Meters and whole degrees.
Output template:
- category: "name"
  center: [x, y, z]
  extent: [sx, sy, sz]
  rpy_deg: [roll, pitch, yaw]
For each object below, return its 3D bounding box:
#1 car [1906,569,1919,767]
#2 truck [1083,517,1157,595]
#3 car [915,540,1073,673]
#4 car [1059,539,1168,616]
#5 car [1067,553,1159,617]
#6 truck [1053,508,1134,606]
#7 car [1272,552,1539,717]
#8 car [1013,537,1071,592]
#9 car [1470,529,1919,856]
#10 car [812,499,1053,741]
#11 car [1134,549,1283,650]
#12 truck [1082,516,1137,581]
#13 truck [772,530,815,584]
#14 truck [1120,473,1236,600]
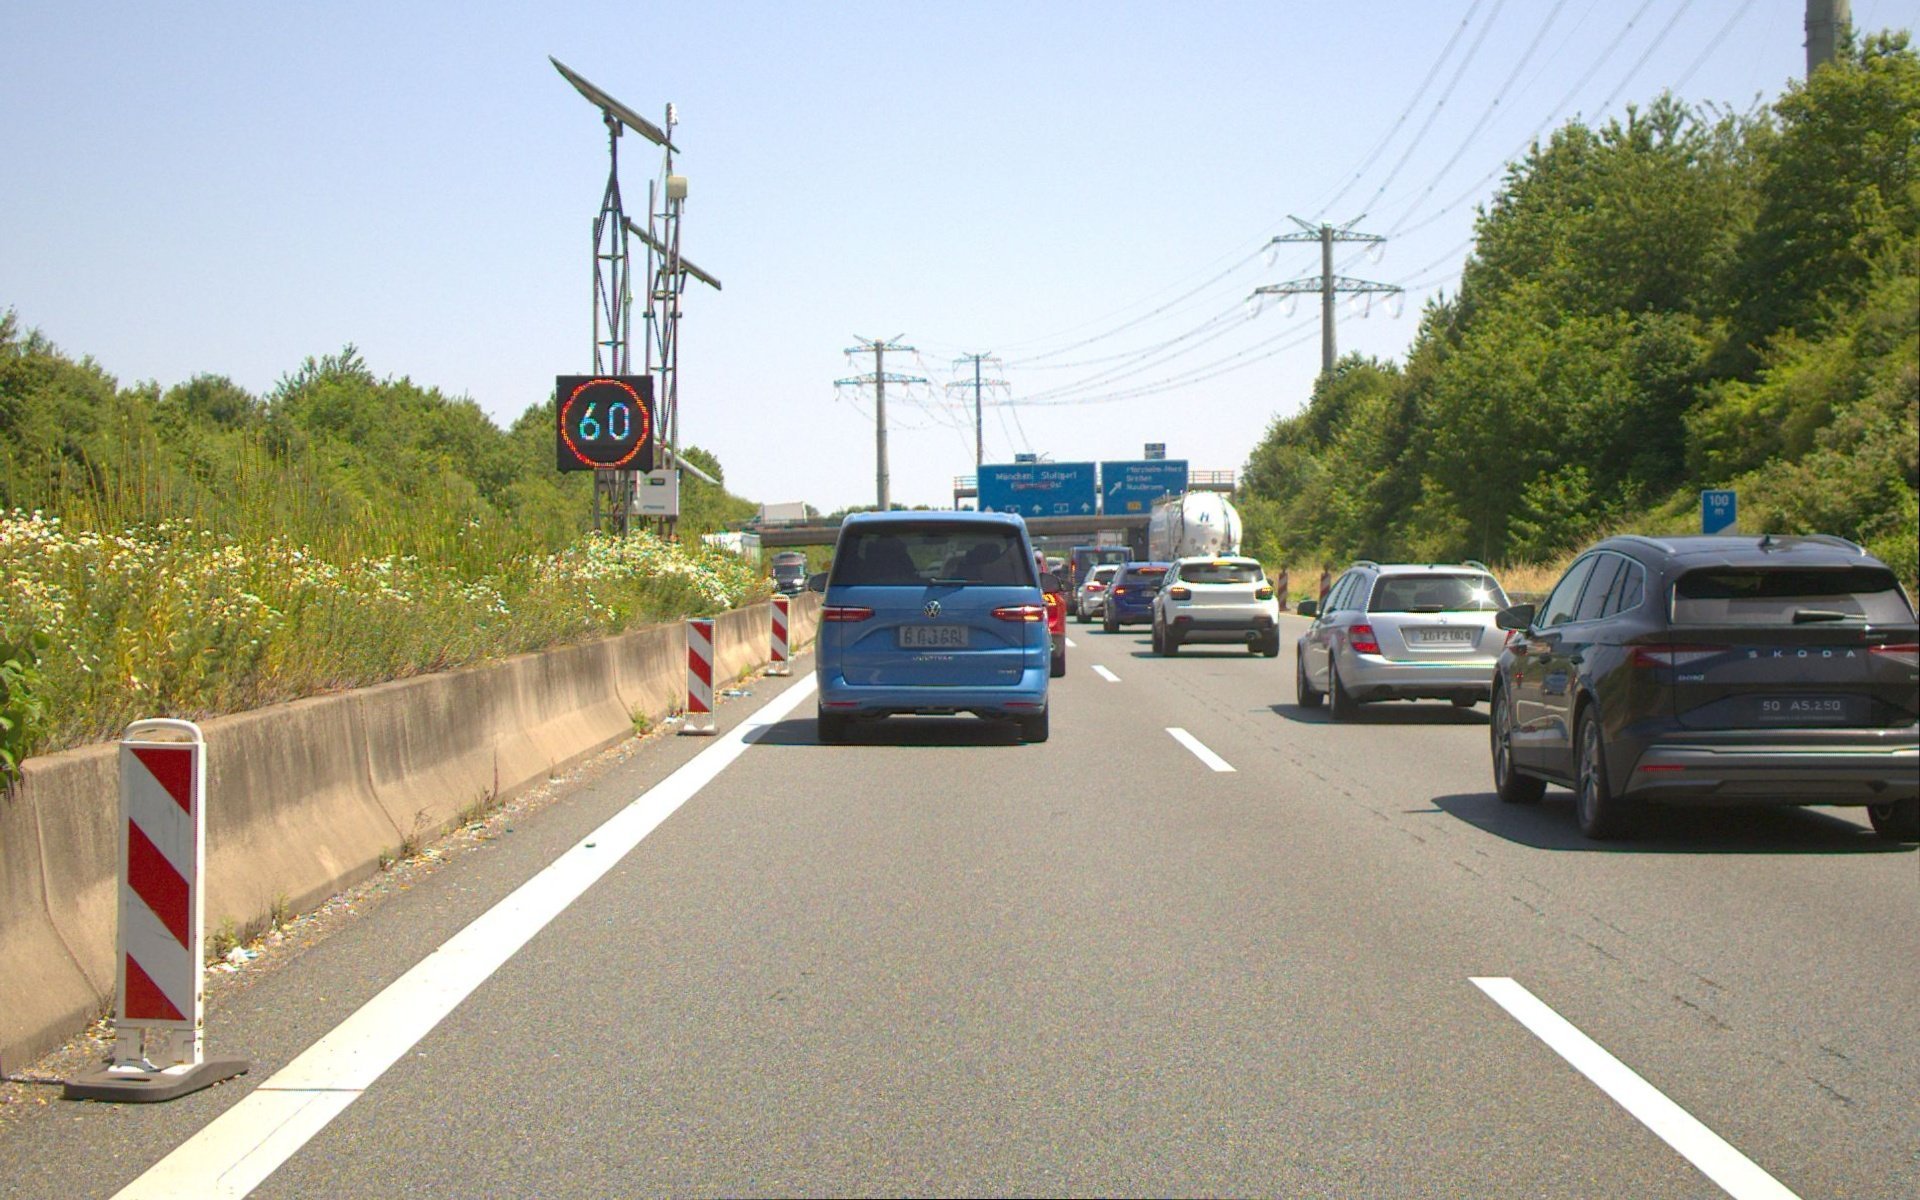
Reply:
- category: "car"
  center: [7.571, 0.508, 21.965]
  extent: [1.734, 1.373, 4.303]
  rpy_deg: [1, 1, -2]
- category: "truck"
  center: [7.467, -2.074, 161.553]
  extent: [2.644, 3.526, 12.552]
  rpy_deg: [1, 1, -1]
- category: "car"
  center: [0.386, 0.047, 44.244]
  extent: [1.908, 1.625, 4.384]
  rpy_deg: [0, 1, -1]
- category: "car"
  center: [3.151, -0.483, 71.446]
  extent: [1.908, 1.511, 4.384]
  rpy_deg: [1, 1, -2]
- category: "car"
  center: [3.728, -0.393, 84.576]
  extent: [1.908, 1.511, 4.384]
  rpy_deg: [1, 1, -2]
- category: "truck"
  center: [3.823, -1.248, 99.339]
  extent: [1.993, 2.714, 5.680]
  rpy_deg: [1, 1, -1]
- category: "car"
  center: [4.145, 0.277, 32.645]
  extent: [1.821, 1.432, 4.384]
  rpy_deg: [1, 1, -2]
- category: "car"
  center: [3.027, -1.320, 127.602]
  extent: [1.993, 2.007, 4.000]
  rpy_deg: [1, 1, -1]
- category: "car"
  center: [4.121, 0.416, 19.173]
  extent: [1.828, 1.609, 4.431]
  rpy_deg: [0, 1, -1]
- category: "car"
  center: [-0.294, 0.127, 29.176]
  extent: [1.871, 1.873, 4.384]
  rpy_deg: [1, 1, -2]
- category: "car"
  center: [3.838, -0.036, 53.763]
  extent: [1.908, 1.503, 3.922]
  rpy_deg: [1, 1, -2]
- category: "truck"
  center: [10.172, -3.504, 235.558]
  extent: [2.938, 4.276, 12.552]
  rpy_deg: [1, 1, -1]
- category: "truck"
  center: [-12.564, -3.236, 260.132]
  extent: [2.762, 3.875, 9.030]
  rpy_deg: [-2, 1, -1]
- category: "truck"
  center: [7.409, -2.159, 119.109]
  extent: [2.644, 4.058, 16.442]
  rpy_deg: [1, 1, -1]
